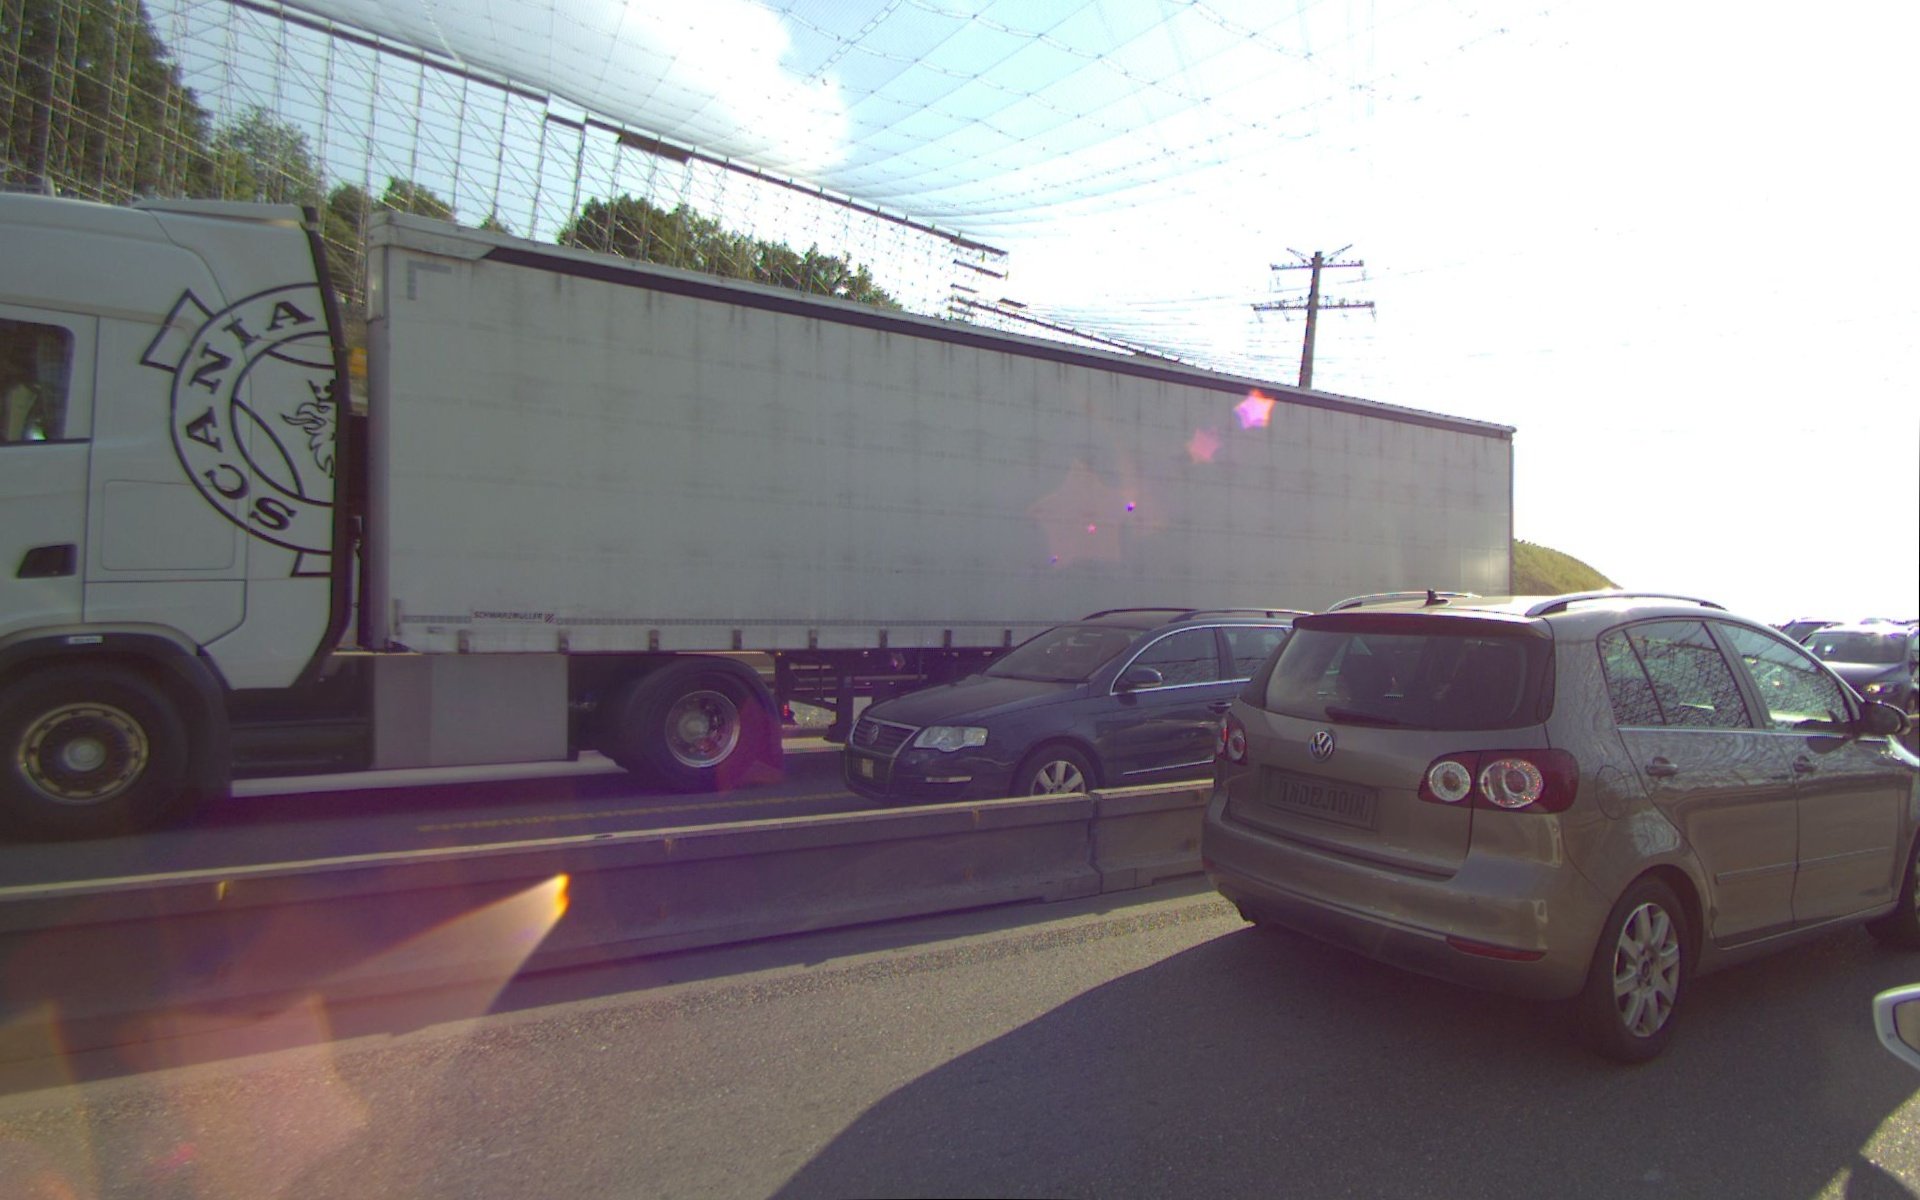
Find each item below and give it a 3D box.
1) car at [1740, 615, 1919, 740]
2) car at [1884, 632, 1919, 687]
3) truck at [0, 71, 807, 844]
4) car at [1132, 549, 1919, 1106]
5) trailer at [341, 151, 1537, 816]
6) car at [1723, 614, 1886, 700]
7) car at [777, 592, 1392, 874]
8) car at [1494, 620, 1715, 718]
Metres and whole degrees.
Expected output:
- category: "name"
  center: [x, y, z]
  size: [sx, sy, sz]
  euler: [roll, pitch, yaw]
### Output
- category: "car"
  center: [13.924, 1.112, 15.429]
  size: [3.953, 1.651, 1.687]
  euler: [2, 0, -30]
- category: "car"
  center: [25.906, 1.581, 26.331]
  size: [3.958, 1.350, 1.573]
  euler: [2, -1, -33]
- category: "truck"
  center: [-4.522, -0.735, 7.649]
  size: [6.036, 4.286, 2.648]
  euler: [2, -1, -32]
- category: "car"
  center: [2.922, 0.714, 4.635]
  size: [4.052, 1.594, 1.675]
  euler: [2, -1, -30]
- category: "trailer"
  center: [1.253, -0.600, 11.222]
  size: [13.761, 4.290, 2.639]
  euler: [2, 1, -31]
- category: "car"
  center: [18.854, 1.219, 22.384]
  size: [3.957, 1.706, 1.669]
  euler: [2, 0, -33]
- category: "car"
  center: [1.018, 0.799, 7.475]
  size: [4.352, 1.563, 1.734]
  euler: [2, 0, -29]
- category: "car"
  center: [11.142, 1.142, 17.324]
  size: [3.806, 1.460, 1.657]
  euler: [2, 0, -31]
